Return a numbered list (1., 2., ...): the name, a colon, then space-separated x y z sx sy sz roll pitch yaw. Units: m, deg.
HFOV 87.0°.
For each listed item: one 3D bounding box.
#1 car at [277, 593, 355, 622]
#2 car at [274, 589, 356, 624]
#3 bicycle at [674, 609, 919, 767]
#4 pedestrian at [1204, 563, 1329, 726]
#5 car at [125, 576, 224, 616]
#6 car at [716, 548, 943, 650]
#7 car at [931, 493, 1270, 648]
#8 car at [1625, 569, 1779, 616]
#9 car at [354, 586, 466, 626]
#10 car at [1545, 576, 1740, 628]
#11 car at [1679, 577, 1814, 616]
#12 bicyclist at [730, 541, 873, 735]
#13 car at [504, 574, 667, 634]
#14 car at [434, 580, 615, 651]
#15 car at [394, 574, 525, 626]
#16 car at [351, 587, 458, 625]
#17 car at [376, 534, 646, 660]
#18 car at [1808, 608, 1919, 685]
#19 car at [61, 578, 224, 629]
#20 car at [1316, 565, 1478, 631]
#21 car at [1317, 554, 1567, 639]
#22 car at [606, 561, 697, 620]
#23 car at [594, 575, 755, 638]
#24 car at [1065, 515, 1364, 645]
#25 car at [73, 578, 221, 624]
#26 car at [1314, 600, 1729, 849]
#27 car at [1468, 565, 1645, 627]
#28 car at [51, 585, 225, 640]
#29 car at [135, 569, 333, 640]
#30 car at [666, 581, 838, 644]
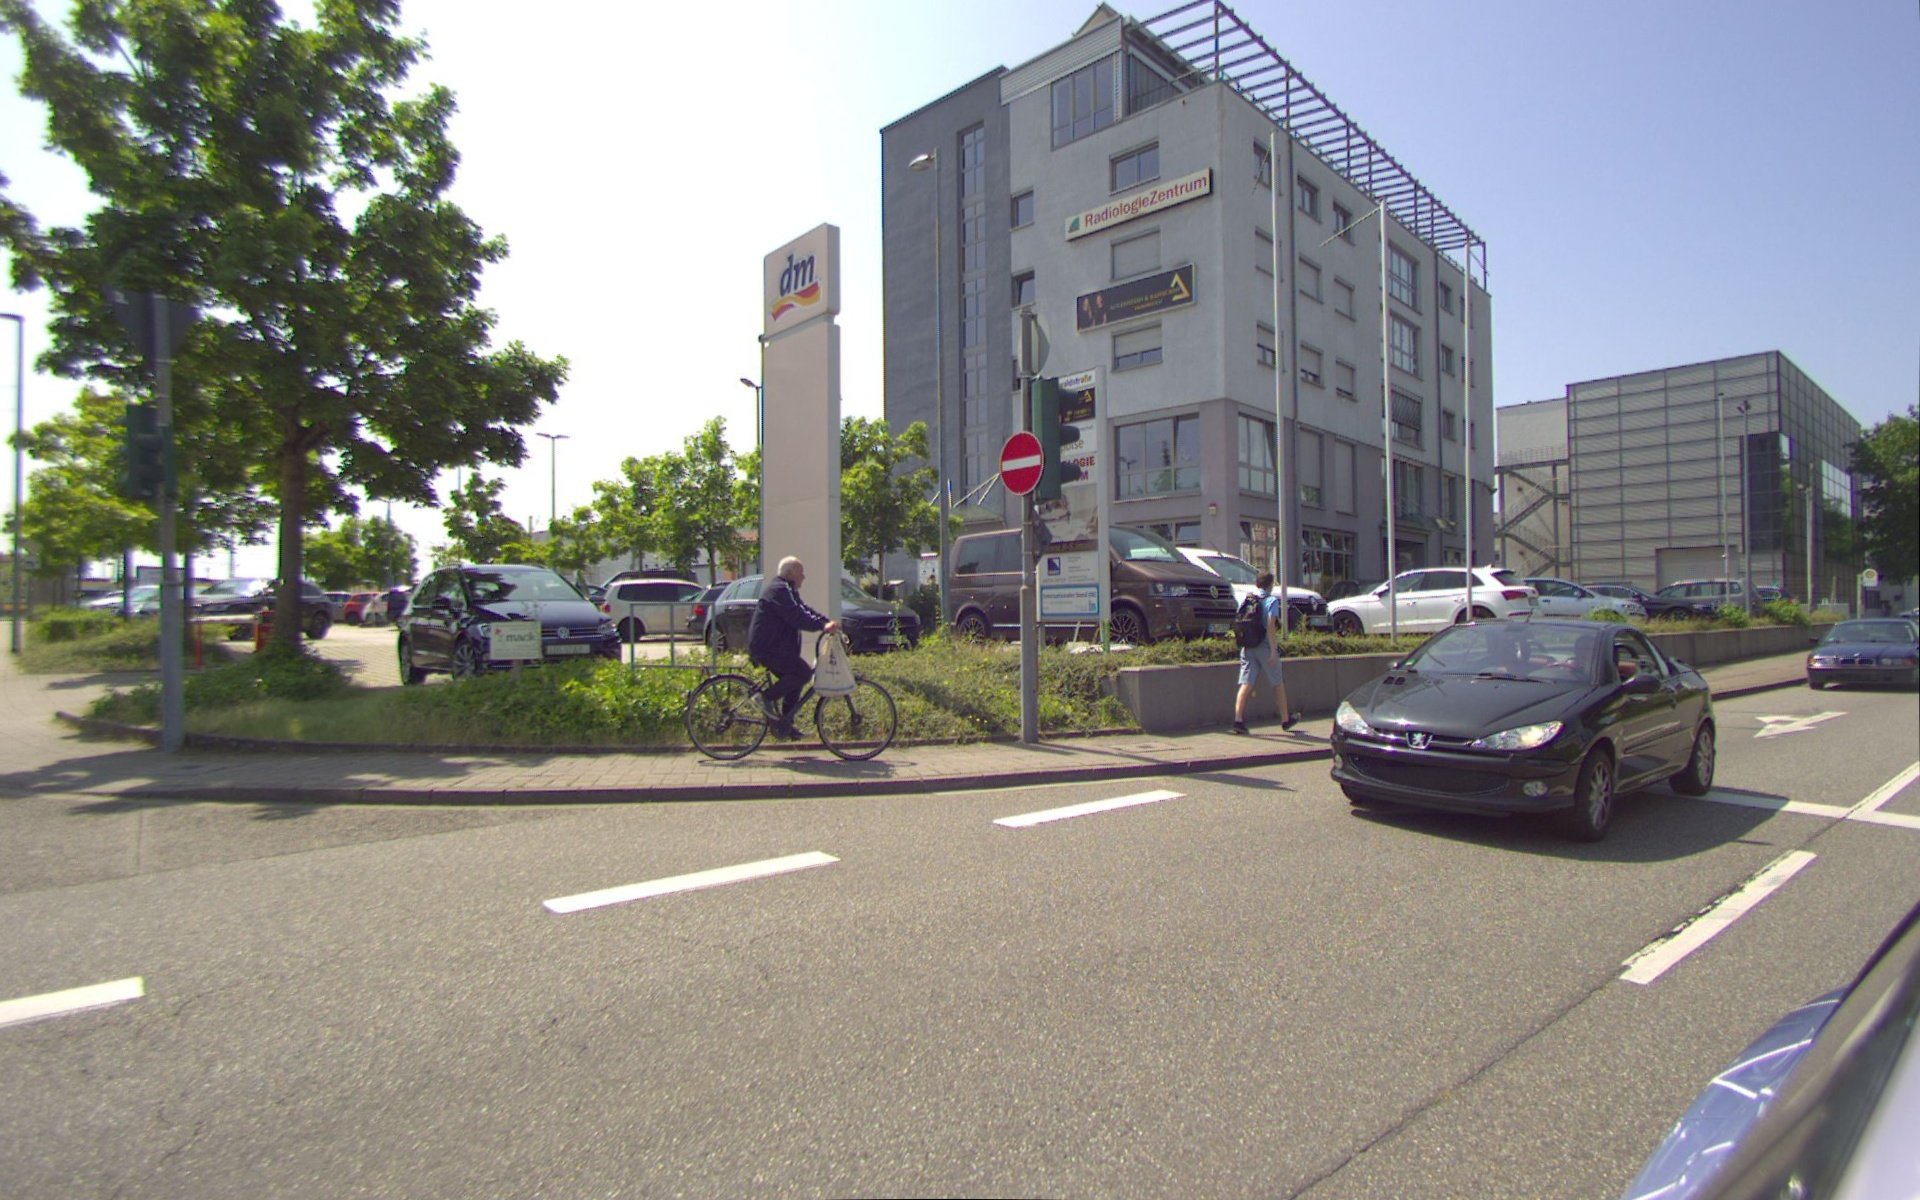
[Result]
1. car: -30.009 0.337 47.261 2.944 1.339 1.364 0 0 -27
2. car: -28.550 0.265 44.911 2.944 1.505 1.364 0 0 -27
3. bicycle: -1.329 0.683 8.289 1.868 1.147 0.761 -2 -1 -10
4. pedestrian: 3.296 0.451 10.895 0.988 1.646 0.829 -2 -1 -40
5. car: -30.283 -0.145 39.096 2.920 1.485 1.429 0 0 -35
6. car: -2.113 -0.025 15.544 1.724 1.356 3.880 0 0 -38
7. car: 1.900 -0.286 15.043 2.145 1.821 4.700 0 -3 -41
8. car: 26.492 -0.245 36.245 1.728 1.505 4.132 -1 -1 -41
9. car: -22.867 0.221 42.234 3.916 1.616 1.771 0 0 -22
10. car: 21.116 0.099 31.471 1.770 1.399 4.749 -1 -2 -44
11. car: 32.303 -0.151 41.631 1.728 1.505 4.133 -1 0 -41
12. bicyclist: -1.299 0.297 8.311 1.068 1.483 0.778 -2 -2 -9
13. car: -11.727 0.120 31.806 4.648 1.734 2.003 -1 -1 -22
14. car: -9.484 0.290 21.981 3.973 1.415 1.794 0 1 34
15. car: -18.433 0.042 37.459 4.104 1.812 1.676 1 -2 -19
16. car: -24.186 0.245 44.187 3.916 1.616 1.771 0 0 -22
17. car: -5.843 -0.038 12.937 3.987 1.356 1.834 0 0 44
18. car: 18.367 0.866 20.077 3.886 1.340 1.710 -1 -2 -41
19. car: -23.347 0.073 28.979 3.542 1.371 1.750 0 1 -41
20. car: 11.823 0.009 27.776 1.875 1.628 4.529 -2 -1 -9
21. car: 10.411 -0.022 22.098 2.062 1.630 4.465 -1 -1 -44
22. car: -12.187 -0.344 40.151 3.358 2.222 1.675 0 -2 -14
23. car: -7.761 0.160 27.629 4.104 1.620 1.676 -1 0 -16
24. car: 4.042 -0.235 16.725 1.965 1.721 4.417 -2 -3 -39
25. car: -25.490 0.019 31.784 3.542 1.371 1.750 0 1 -41
26. car: 4.273 0.707 7.511 3.439 1.373 1.640 0 1 -41
27. car: 16.169 -0.076 27.504 3.975 1.505 1.735 -3 -1 36
28. car: -22.008 0.295 27.190 3.542 1.371 1.750 0 1 -41
29. car: -18.479 0.091 26.056 1.962 1.660 4.345 0 0 1
30. car: -5.308 0.289 25.835 3.918 1.505 2.003 0 1 -27
